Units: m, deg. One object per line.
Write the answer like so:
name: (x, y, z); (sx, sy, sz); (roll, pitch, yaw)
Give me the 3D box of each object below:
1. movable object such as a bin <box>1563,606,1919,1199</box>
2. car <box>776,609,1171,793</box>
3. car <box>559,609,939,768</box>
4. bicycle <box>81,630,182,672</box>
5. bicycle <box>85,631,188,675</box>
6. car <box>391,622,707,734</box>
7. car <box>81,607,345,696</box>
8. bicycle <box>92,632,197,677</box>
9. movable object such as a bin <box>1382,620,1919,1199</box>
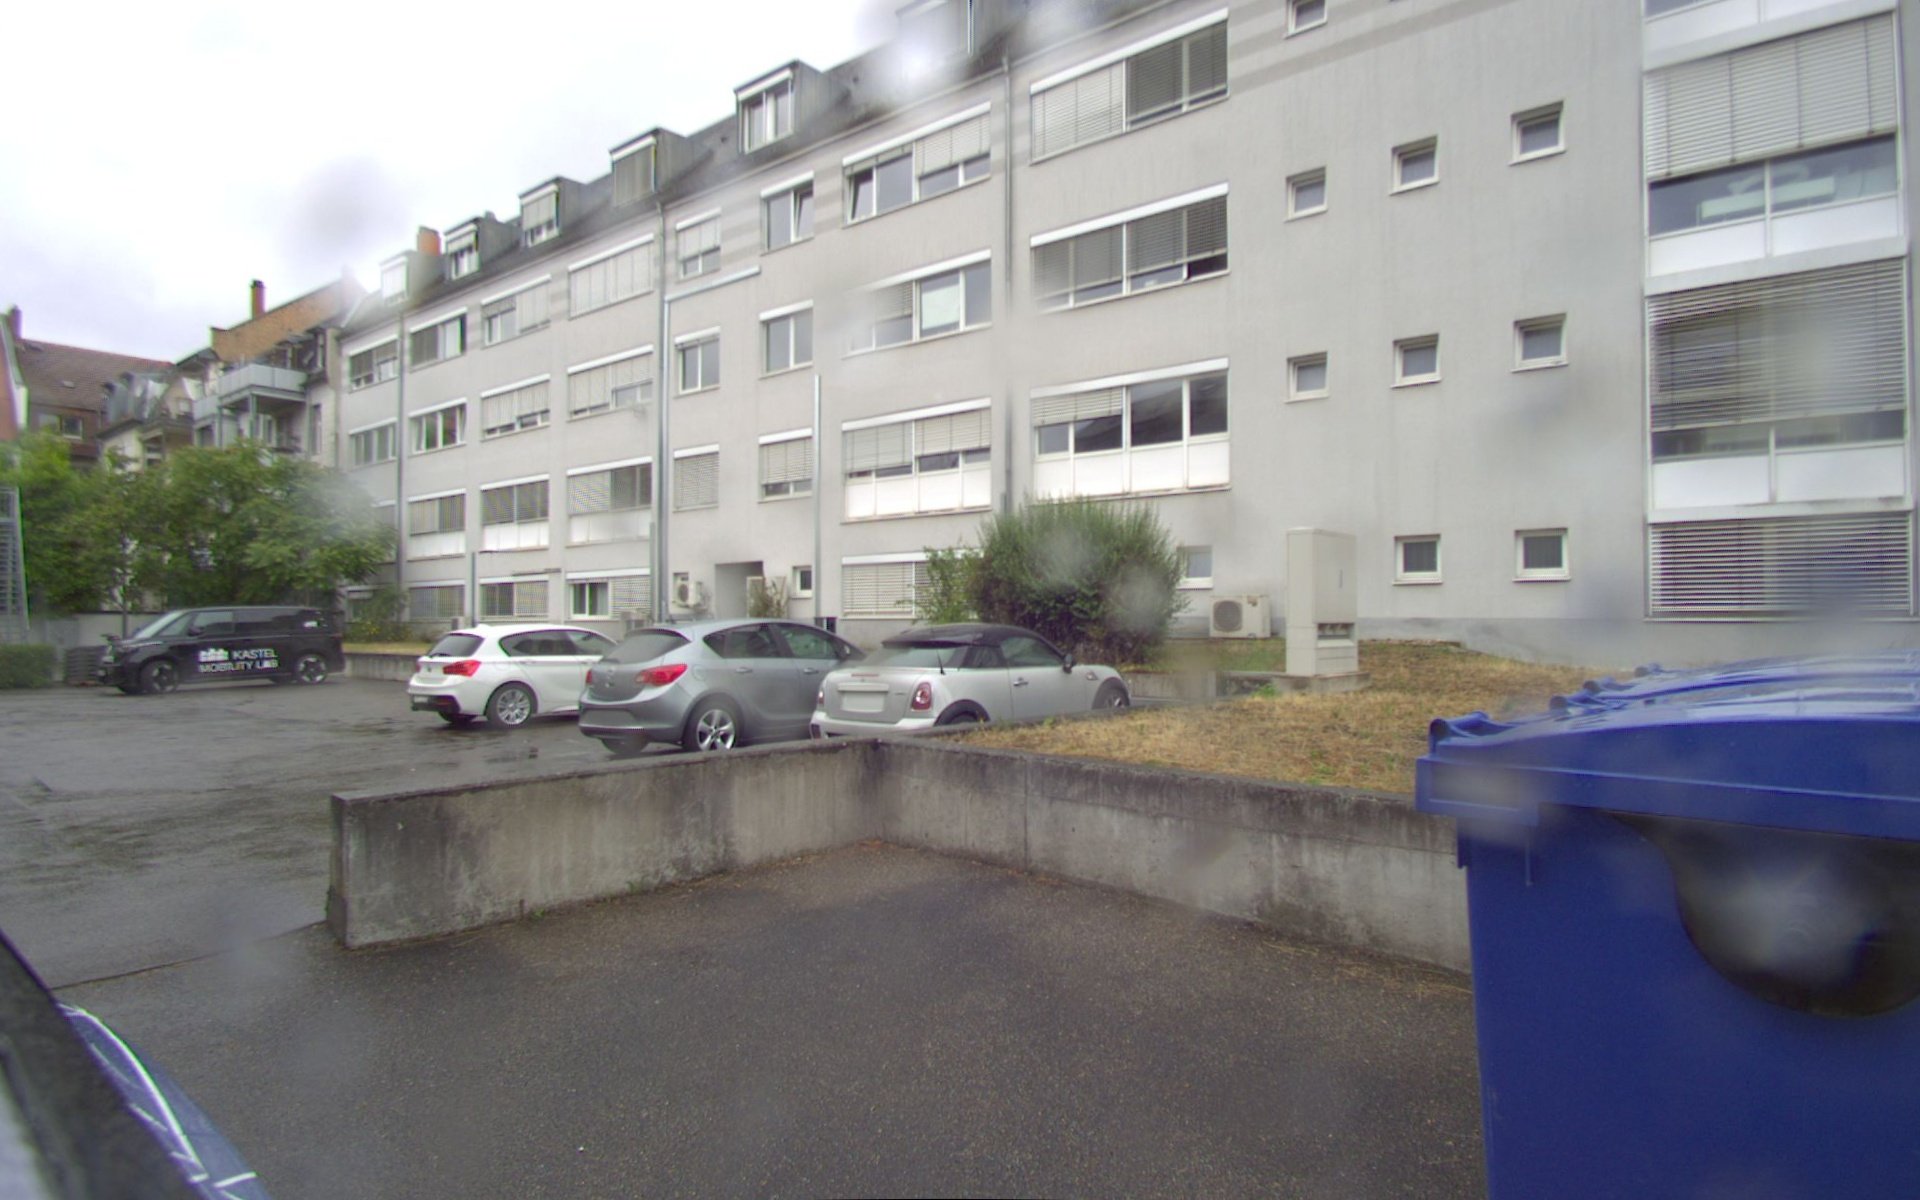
movable object such as a bin: (2.438, 0.707, 2.696); (1.117, 1.347, 1.189); (-4, -2, 44)
car: (0.335, 0.862, 10.360); (1.821, 1.343, 4.123); (-3, 0, 40)
car: (-2.256, 0.894, 11.739); (1.820, 1.495, 4.125); (-2, -2, 39)
bicycle: (-24.954, 1.517, 30.532); (0.644, 1.195, 2.287); (1, 0, 44)
bicycle: (-24.136, 1.539, 29.696); (0.644, 1.195, 2.287); (1, 0, 44)
car: (-6.031, 1.051, 15.274); (1.751, 1.444, 4.099); (-1, -1, 39)
car: (-17.186, 1.141, 23.515); (1.984, 1.851, 4.575); (-3, -2, 36)
bicycle: (-23.507, 1.556, 29.200); (0.644, 1.195, 2.287); (1, 0, 44)
movable object such as a bin: (1.550, 0.708, 1.735); (1.188, 1.347, 1.118); (1, -2, -42)
